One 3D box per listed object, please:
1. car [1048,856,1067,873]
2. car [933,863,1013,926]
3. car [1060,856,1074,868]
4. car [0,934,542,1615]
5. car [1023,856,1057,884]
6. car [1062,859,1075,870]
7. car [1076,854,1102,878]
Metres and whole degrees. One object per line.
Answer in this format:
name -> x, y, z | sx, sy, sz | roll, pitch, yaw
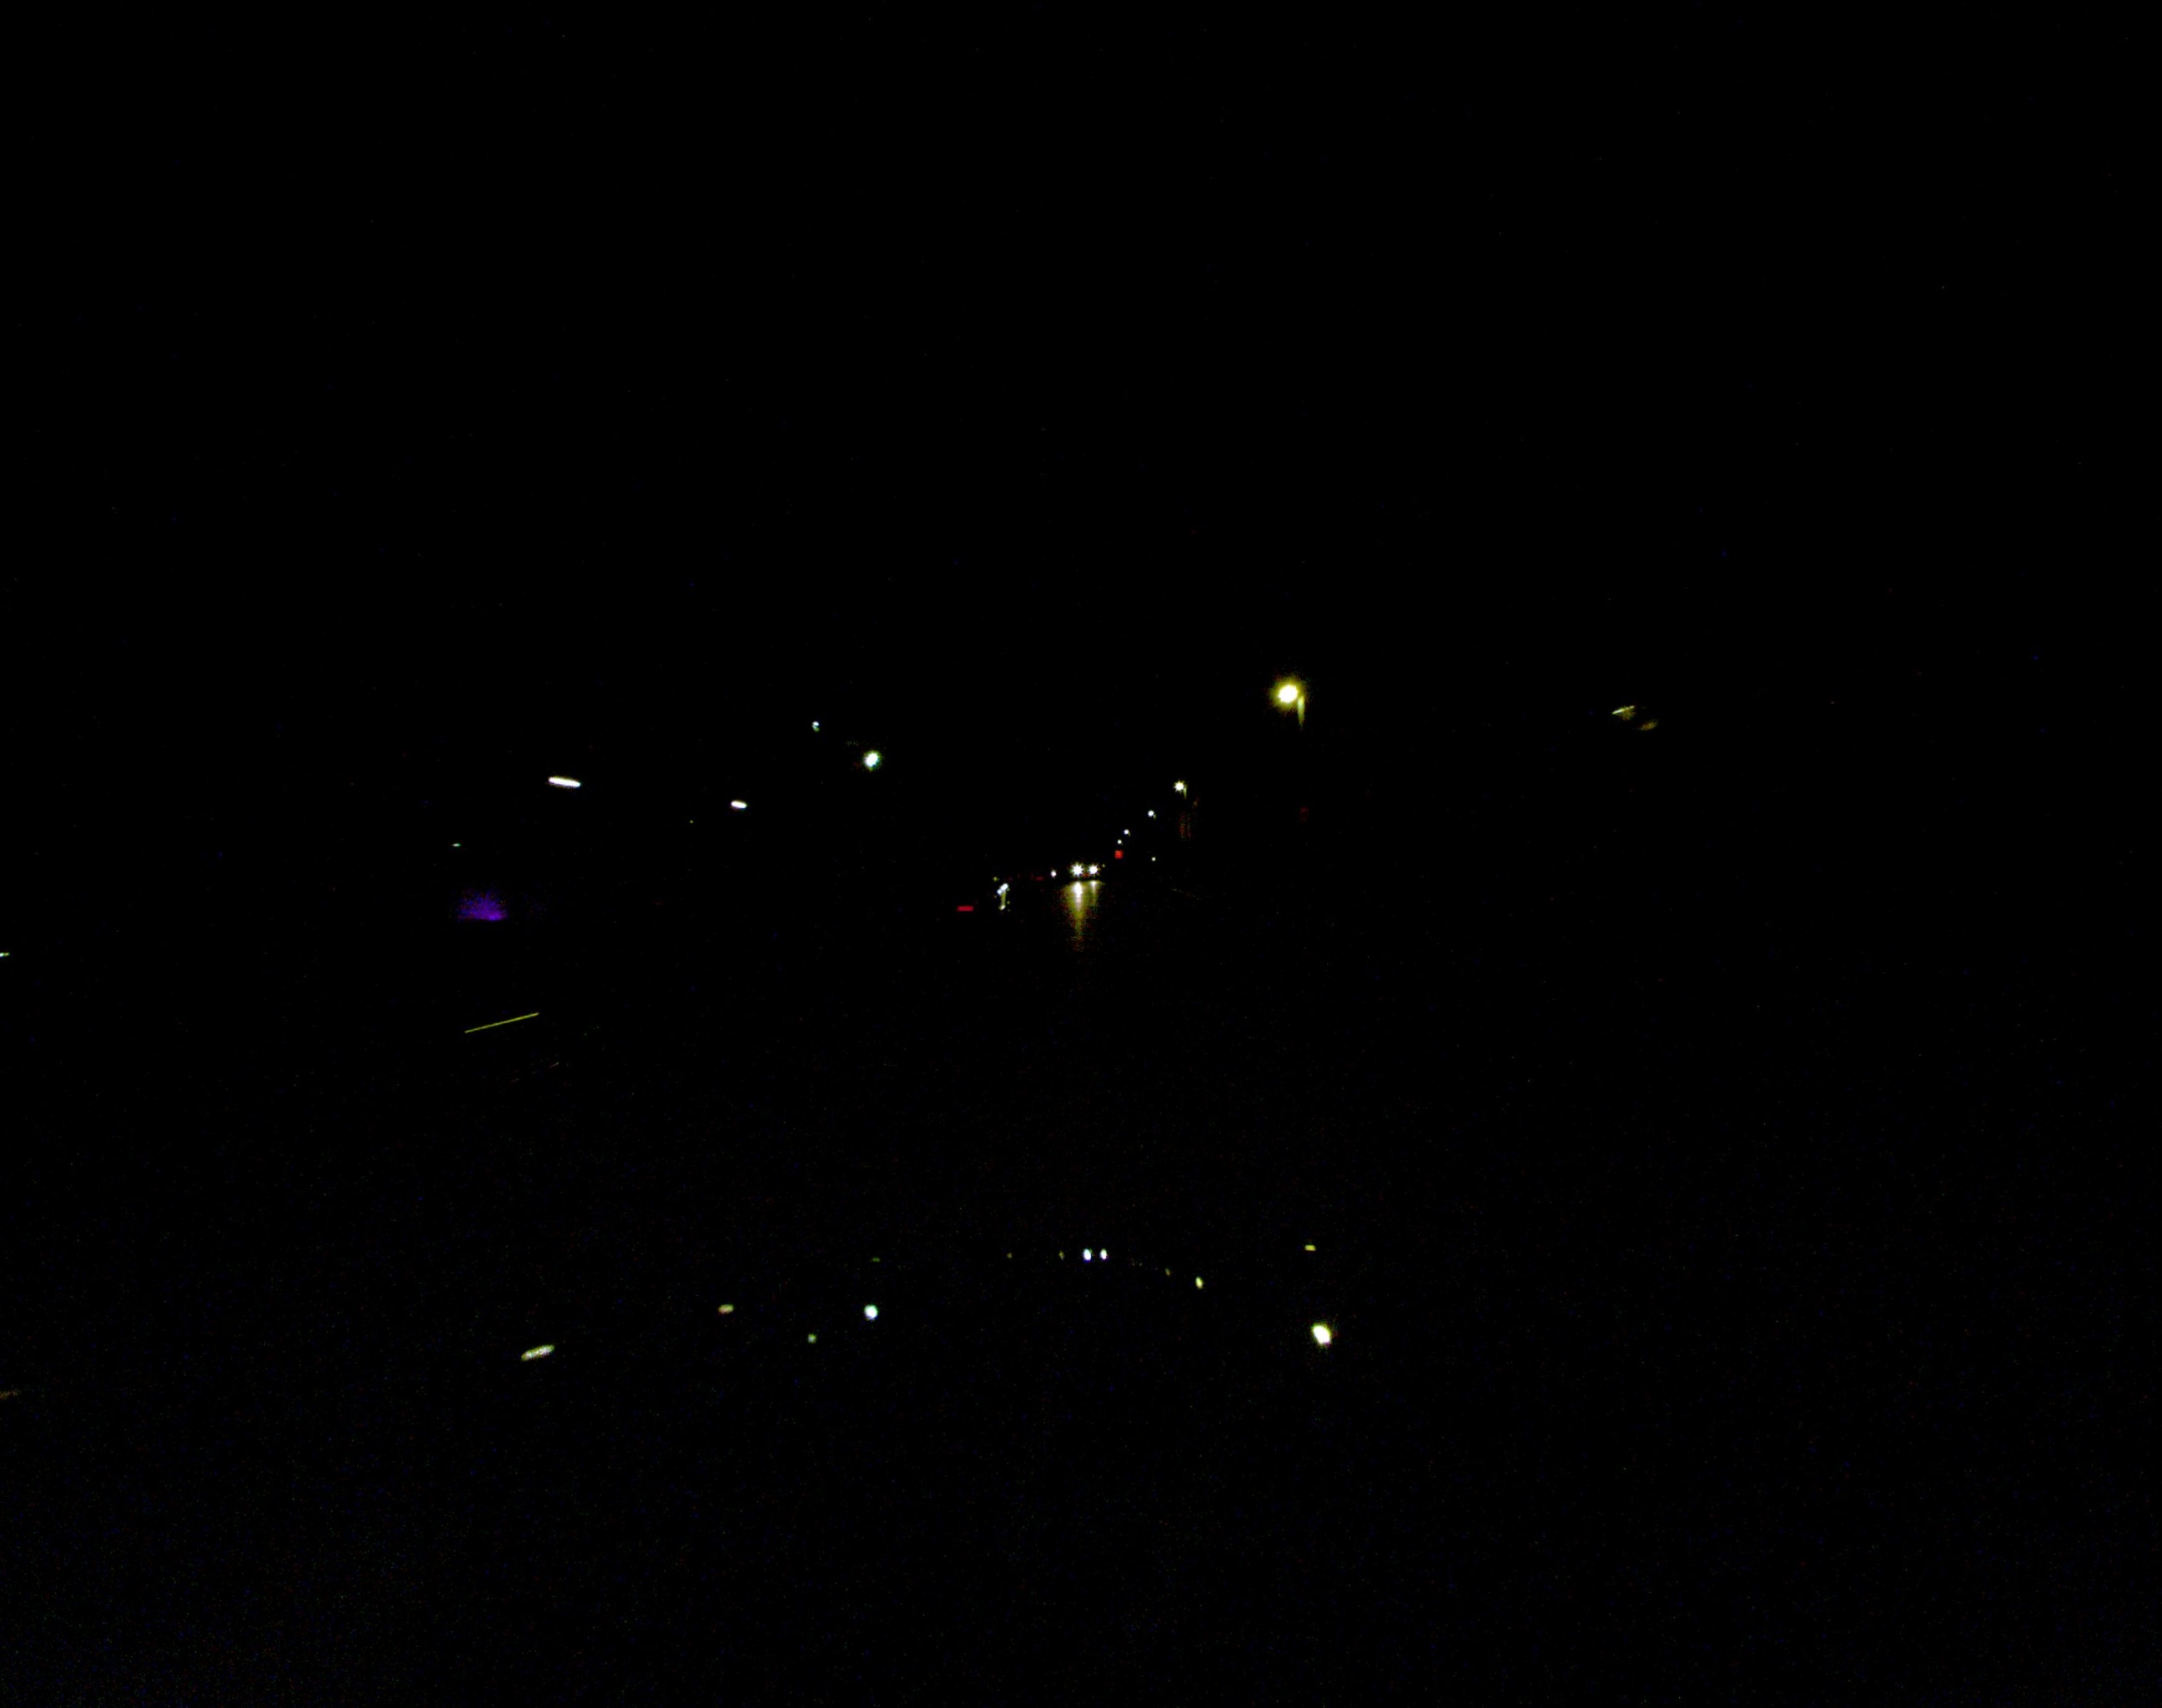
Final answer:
car -> -2.230, 1.009, 73.578 | 1.702, 1.447, 3.713 | -2, 0, 0
car -> -2.882, 1.045, 20.918 | 1.656, 1.465, 3.517 | -2, 0, 0
car -> -1.865, 1.050, 101.780 | 1.702, 1.447, 3.713 | -2, 0, 0
car -> -3.336, 1.104, 1.738 | 1.604, 1.390, 3.517 | -2, 0, 1
car -> -2.290, 0.906, 43.507 | 1.702, 1.447, 3.713 | -2, 0, 0
car -> -1.701, 1.485, 105.942 | 1.702, 1.447, 3.713 | -2, 0, 0
car -> 0.527, 0.788, 52.314 | 1.627, 1.496, 3.549 | -2, 0, 0
